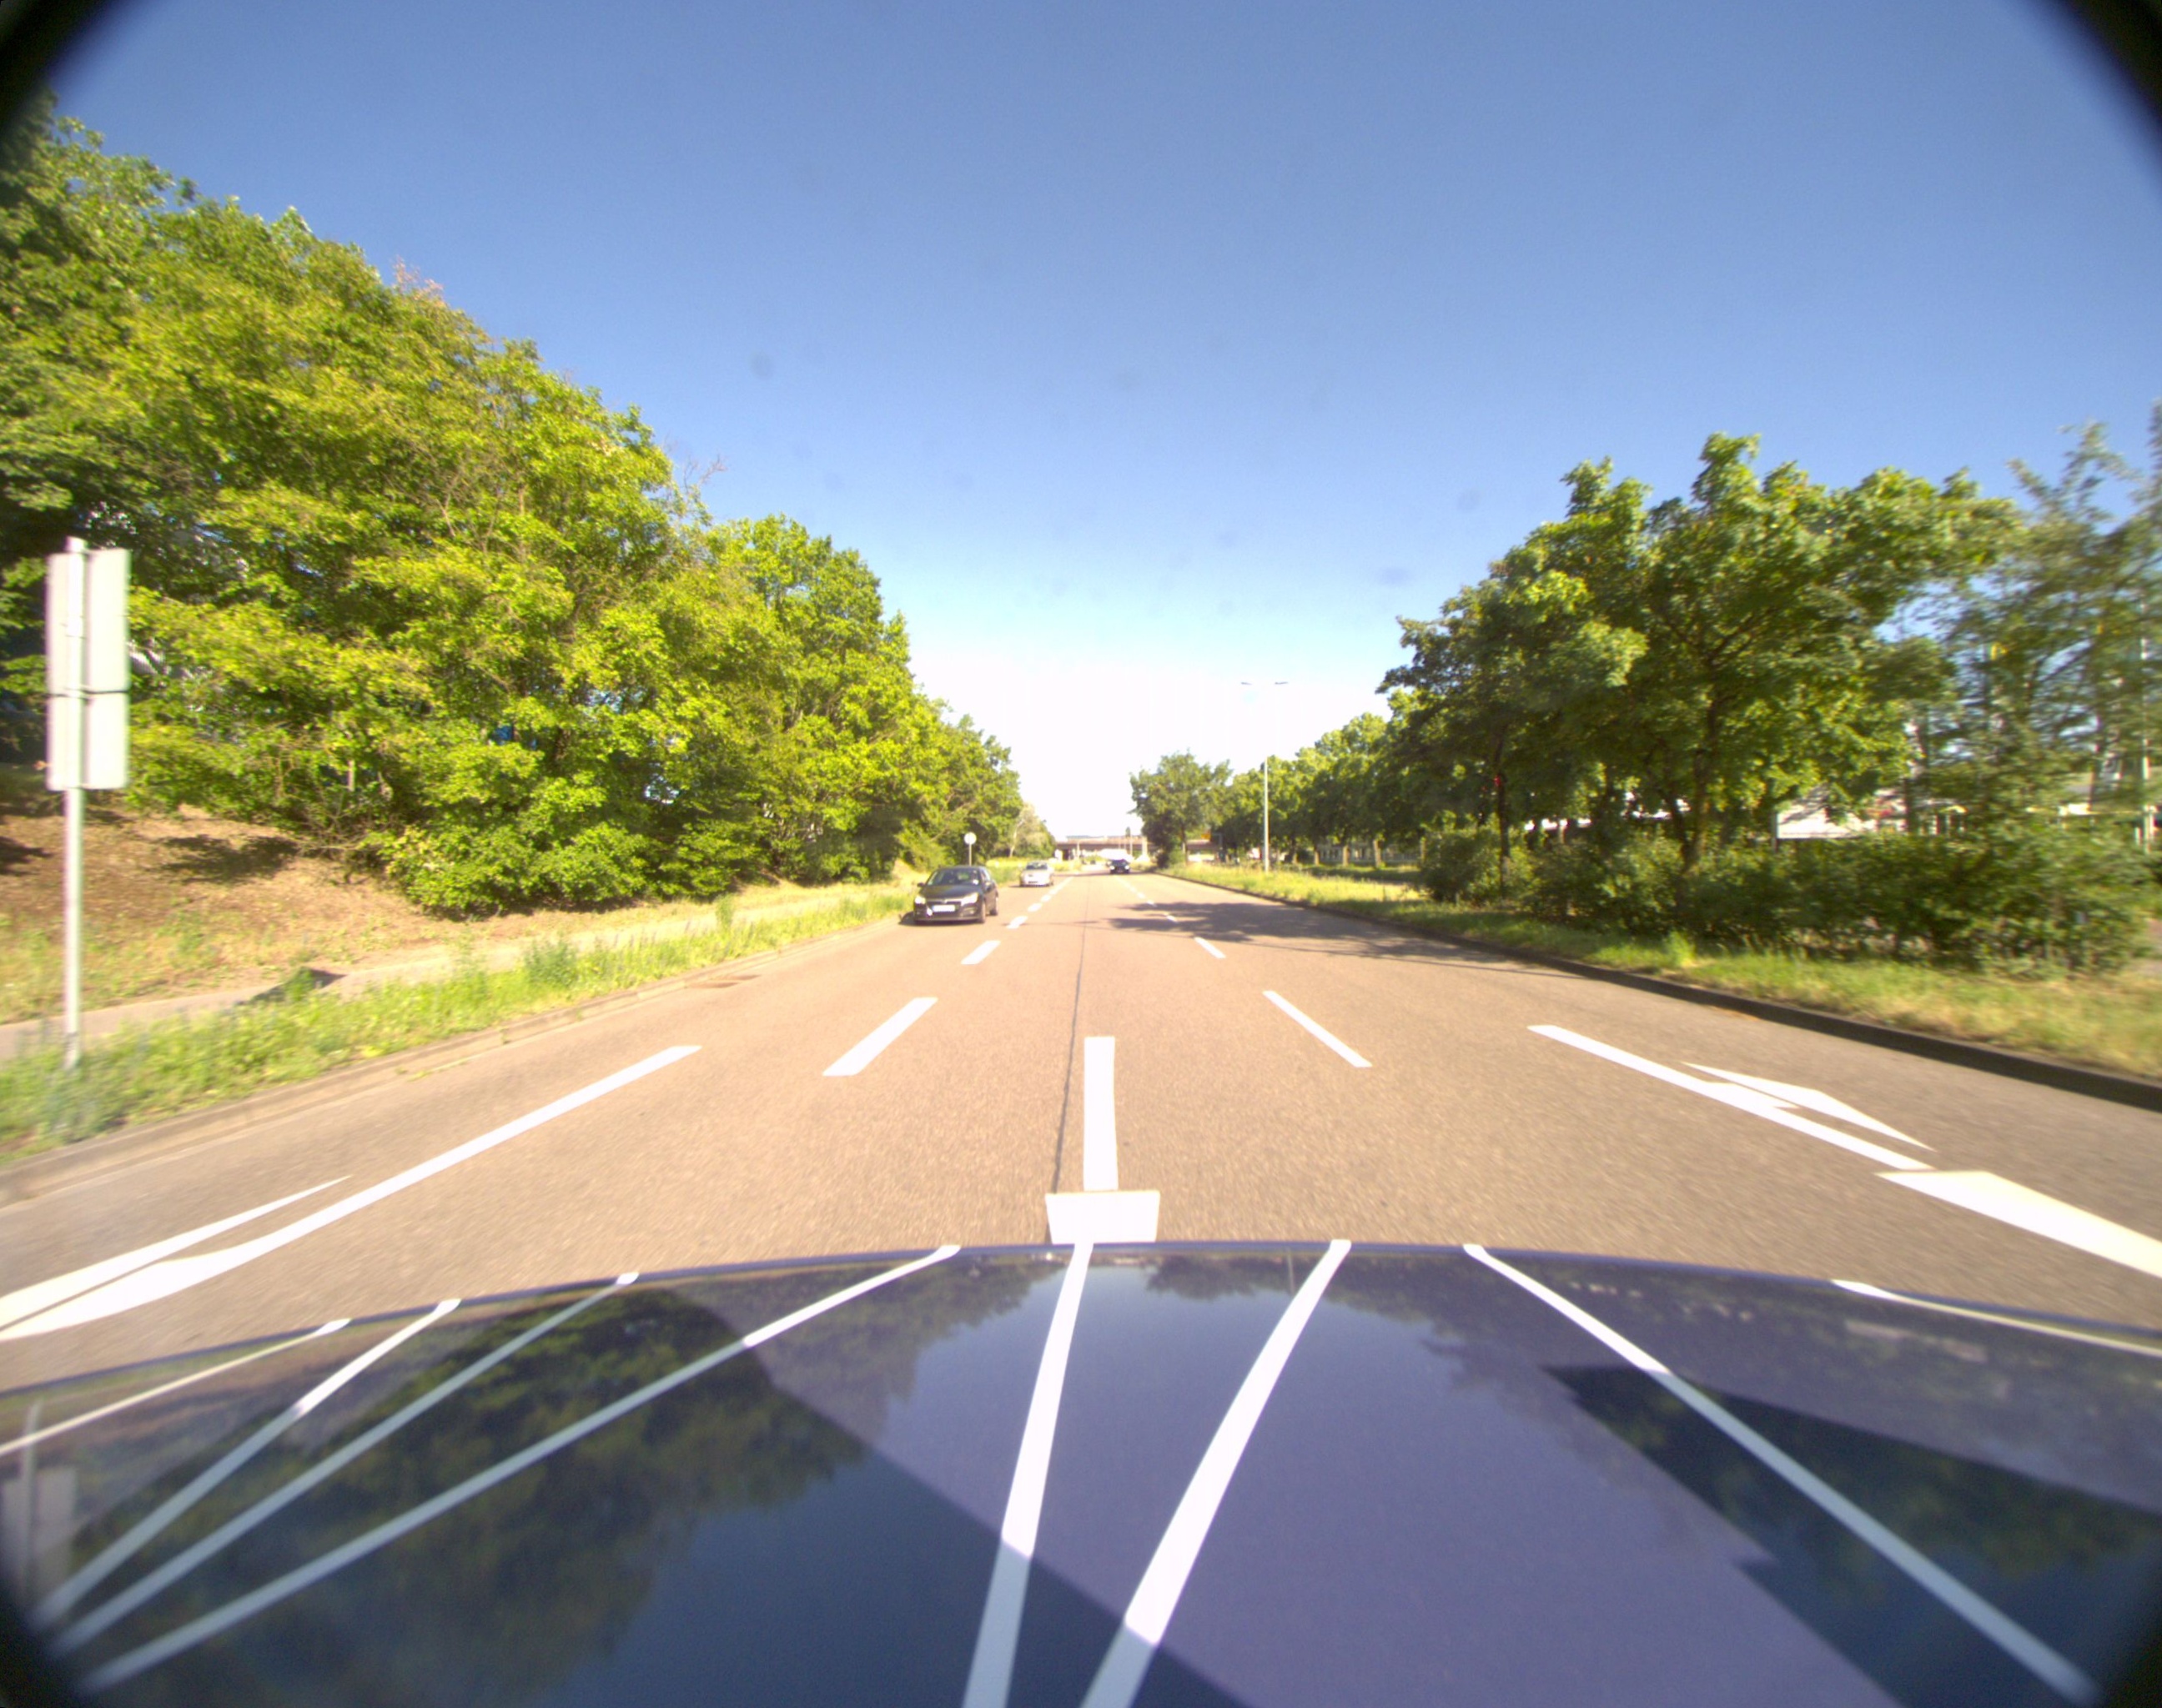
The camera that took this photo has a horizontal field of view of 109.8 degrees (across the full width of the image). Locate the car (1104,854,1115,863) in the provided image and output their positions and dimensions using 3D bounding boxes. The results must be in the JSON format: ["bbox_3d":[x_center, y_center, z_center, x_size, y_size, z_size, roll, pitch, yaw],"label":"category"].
[{"bbox_3d":[5.106,0.798,137.587,1.827,1.528,4.042,-1,0,1],"label":"car"}]

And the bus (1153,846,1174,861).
[{"bbox_3d":[15.837,0.013,146.465,2.728,2.705,11.088,2,0,1],"label":"bus"}]

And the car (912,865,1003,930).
[{"bbox_3d":[-3.147,1.066,20.048,1.707,1.446,3.959,-1,0,0],"label":"car"}]

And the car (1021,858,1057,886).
[{"bbox_3d":[-2.433,1.017,45.134,1.827,1.528,4.042,-1,0,1],"label":"car"}]

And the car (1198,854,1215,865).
[{"bbox_3d":[18.328,0.786,111.320,1.760,1.511,4.530,1,0,1],"label":"car"}]

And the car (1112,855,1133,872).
[{"bbox_3d":[3.886,0.868,72.463,1.827,1.528,4.042,-1,0,1],"label":"car"}]

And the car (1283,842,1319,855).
[{"bbox_3d":[40.297,-0.965,139.039,5.893,2.419,2.206,0,0,-2],"label":"car"}]
